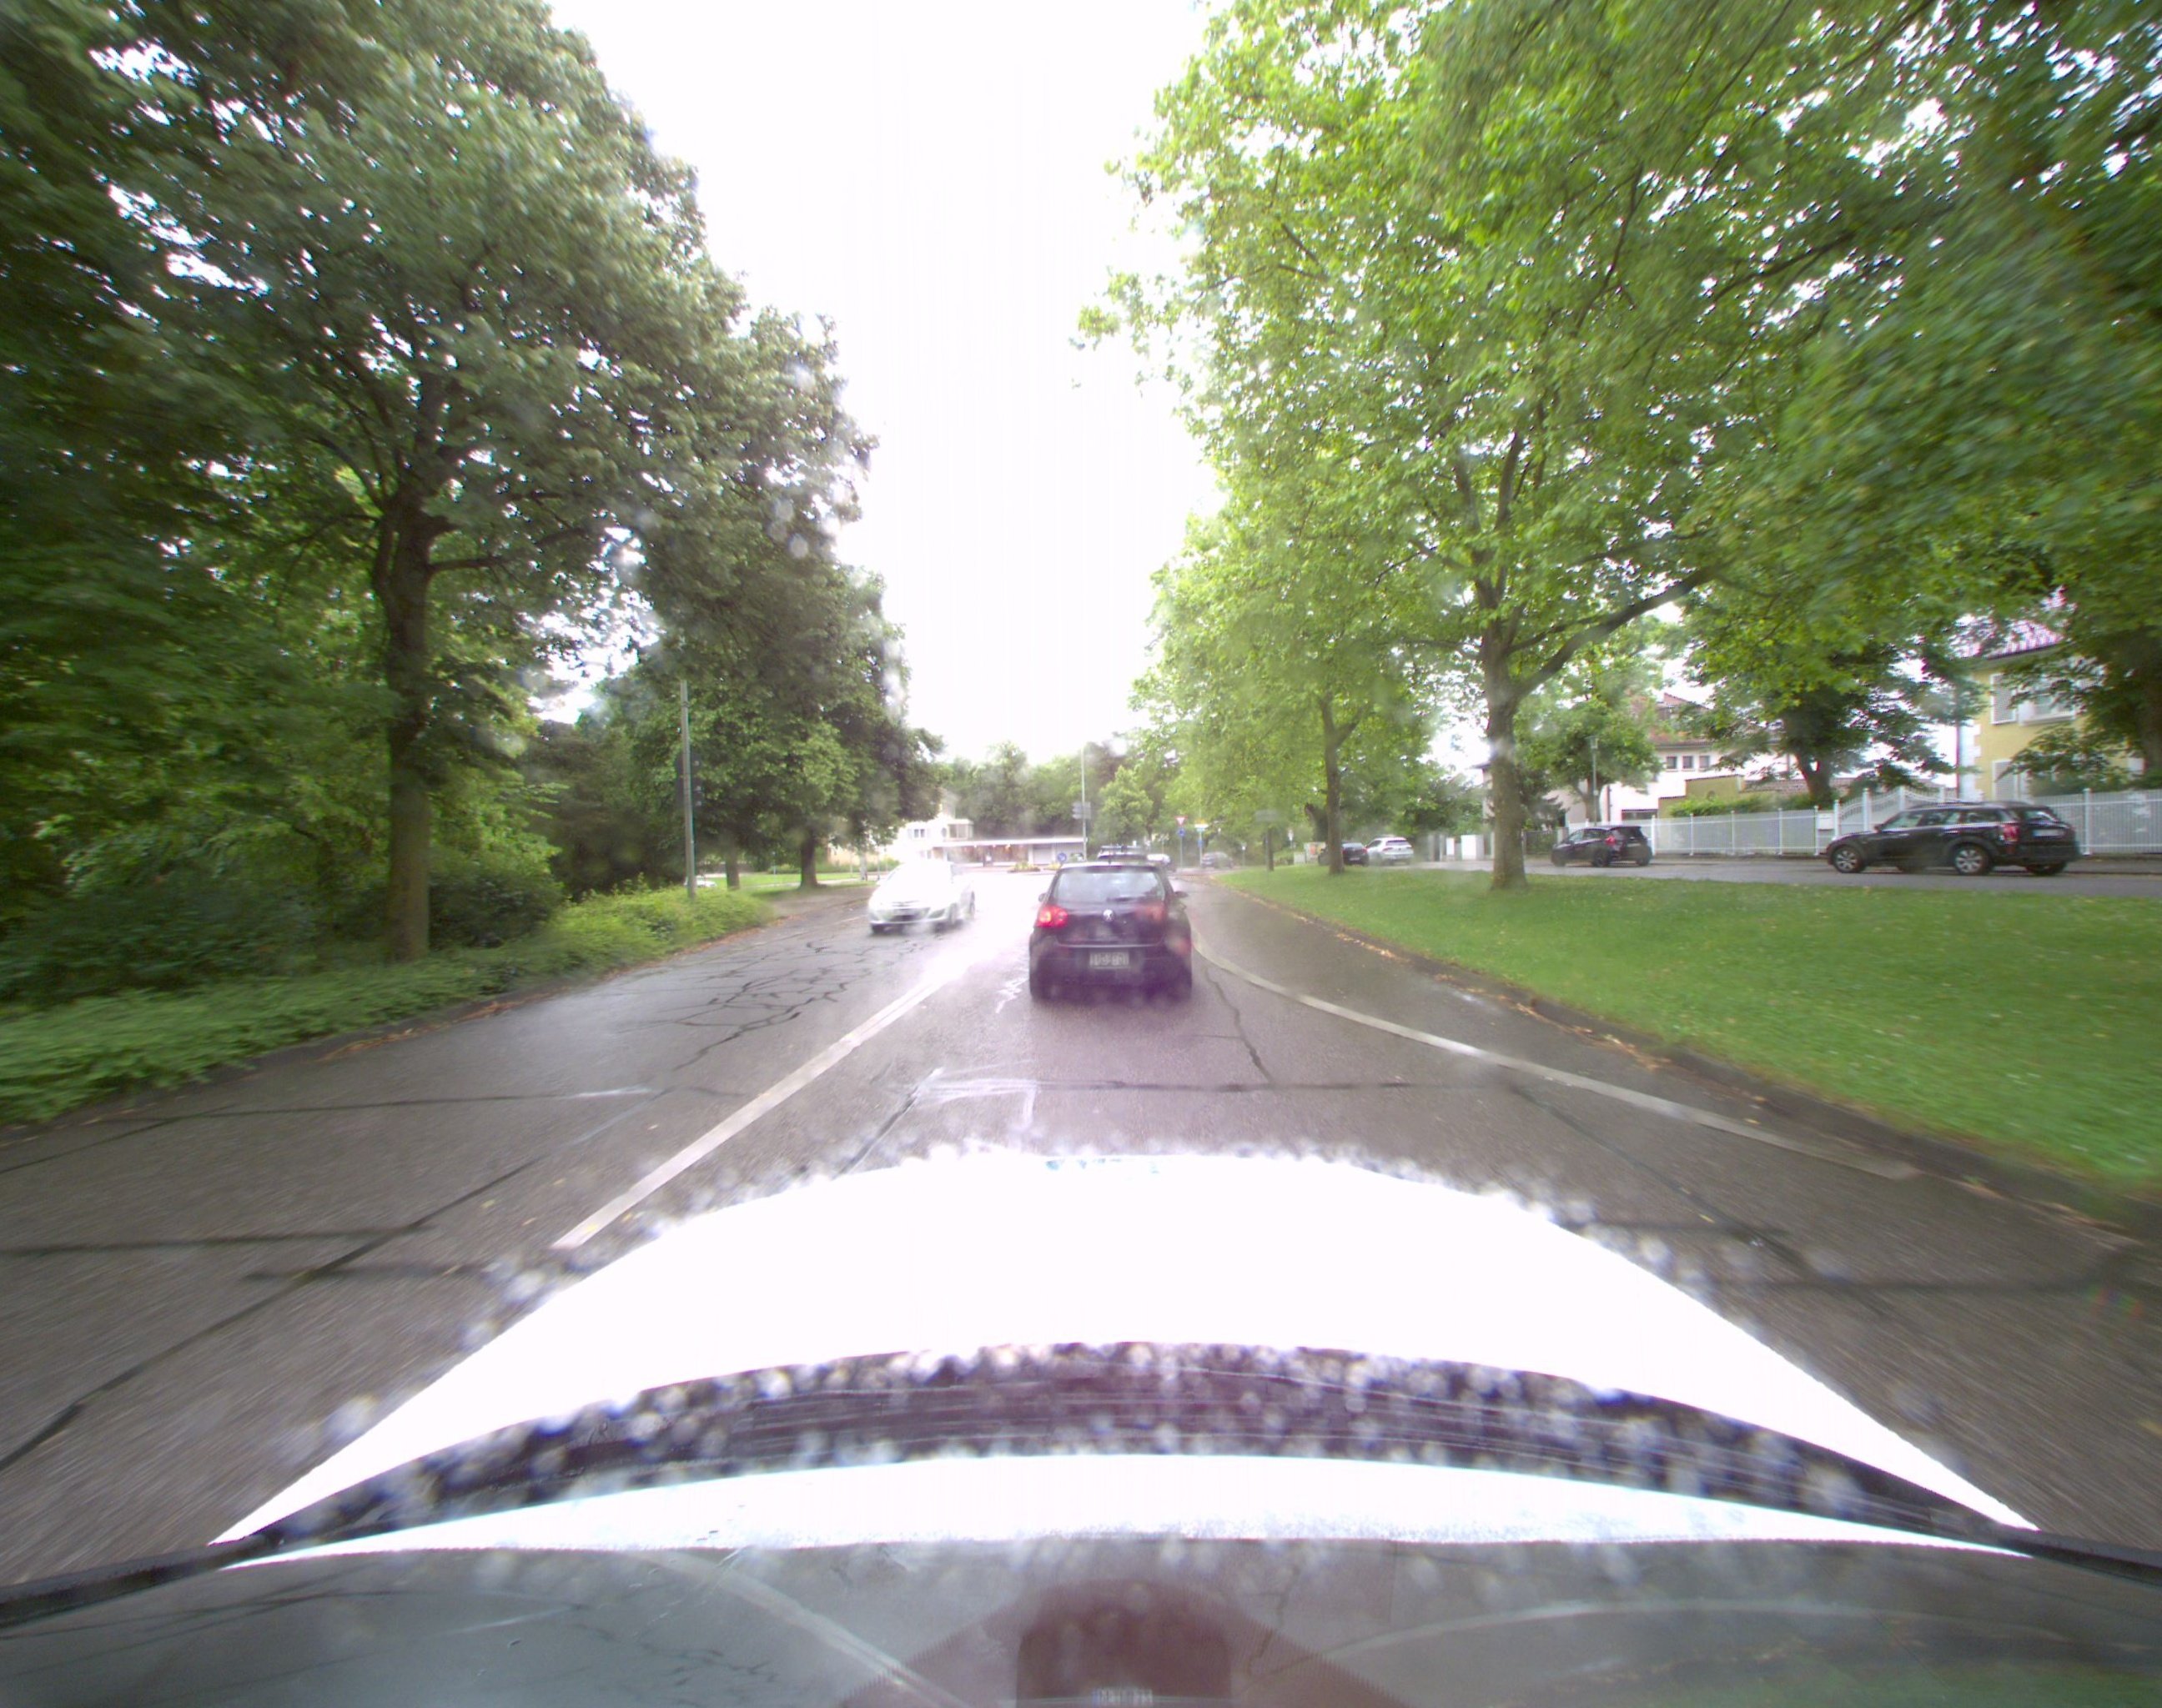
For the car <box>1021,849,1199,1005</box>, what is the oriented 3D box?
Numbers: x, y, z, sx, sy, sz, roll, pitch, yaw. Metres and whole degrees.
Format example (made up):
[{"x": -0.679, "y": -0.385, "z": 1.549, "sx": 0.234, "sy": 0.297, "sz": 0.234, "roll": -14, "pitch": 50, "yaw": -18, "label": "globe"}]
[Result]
[{"x": 0.342, "y": 0.734, "z": 10.043, "sx": 1.758, "sy": 1.538, "sz": 4.001, "roll": 0, "pitch": 0, "yaw": 2, "label": "car"}]

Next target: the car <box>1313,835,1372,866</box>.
[{"x": 13.970, "y": -0.172, "z": 43.765, "sx": 1.758, "sy": 1.471, "sz": 4.599, "roll": -4, "pitch": -1, "yaw": 1, "label": "car"}]

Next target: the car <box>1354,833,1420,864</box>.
[{"x": 16.426, "y": -0.259, "z": 43.956, "sx": 1.839, "sy": 1.471, "sz": 4.426, "roll": -3, "pitch": 0, "yaw": 1, "label": "car"}]

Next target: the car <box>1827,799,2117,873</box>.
[{"x": 19.676, "y": -0.349, "z": 18.315, "sx": 1.988, "sy": 1.471, "sz": 4.122, "roll": 0, "pitch": 0, "yaw": -2, "label": "car"}]

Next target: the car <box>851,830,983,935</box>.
[{"x": -3.609, "y": 0.589, "z": 18.827, "sx": 1.987, "sy": 2.013, "sz": 4.573, "roll": -3, "pitch": 0, "yaw": 0, "label": "car"}]

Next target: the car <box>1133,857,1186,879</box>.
[{"x": 5.691, "y": 0.991, "z": 58.371, "sx": 1.974, "sy": 1.530, "sz": 4.025, "roll": -1, "pitch": -1, "yaw": 37, "label": "car"}]

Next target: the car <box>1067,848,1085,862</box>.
[{"x": -0.617, "y": 0.142, "z": 92.716, "sx": 1.809, "sy": 1.486, "sz": 3.825, "roll": -3, "pitch": 0, "yaw": -4, "label": "car"}]

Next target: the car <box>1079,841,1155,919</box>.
[{"x": 0.925, "y": 0.632, "z": 21.736, "sx": 1.758, "sy": 1.801, "sz": 4.247, "roll": -3, "pitch": -1, "yaw": 2, "label": "car"}]

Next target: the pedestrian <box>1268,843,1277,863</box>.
[{"x": 16.306, "y": -0.053, "z": 69.410, "sx": 0.528, "sy": 1.713, "sz": 0.633, "roll": 0, "pitch": -1, "yaw": -12, "label": "pedestrian"}]

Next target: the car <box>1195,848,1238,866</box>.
[{"x": 11.733, "y": 0.263, "z": 70.299, "sx": 1.974, "sy": 1.530, "sz": 4.025, "roll": -1, "pitch": -1, "yaw": 37, "label": "car"}]

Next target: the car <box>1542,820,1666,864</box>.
[{"x": 19.531, "y": -0.396, "z": 30.680, "sx": 1.755, "sy": 1.471, "sz": 4.354, "roll": -2, "pitch": 0, "yaw": -2, "label": "car"}]

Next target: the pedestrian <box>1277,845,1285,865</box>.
[{"x": 17.195, "y": 0.122, "z": 70.072, "sx": 0.628, "sy": 1.713, "sz": 0.532, "roll": 0, "pitch": -1, "yaw": 19, "label": "pedestrian"}]

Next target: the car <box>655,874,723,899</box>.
[{"x": -28.557, "y": 2.330, "z": 59.416, "sx": 4.019, "sy": 1.684, "sz": 1.994, "roll": 0, "pitch": 0, "yaw": -9, "label": "car"}]
